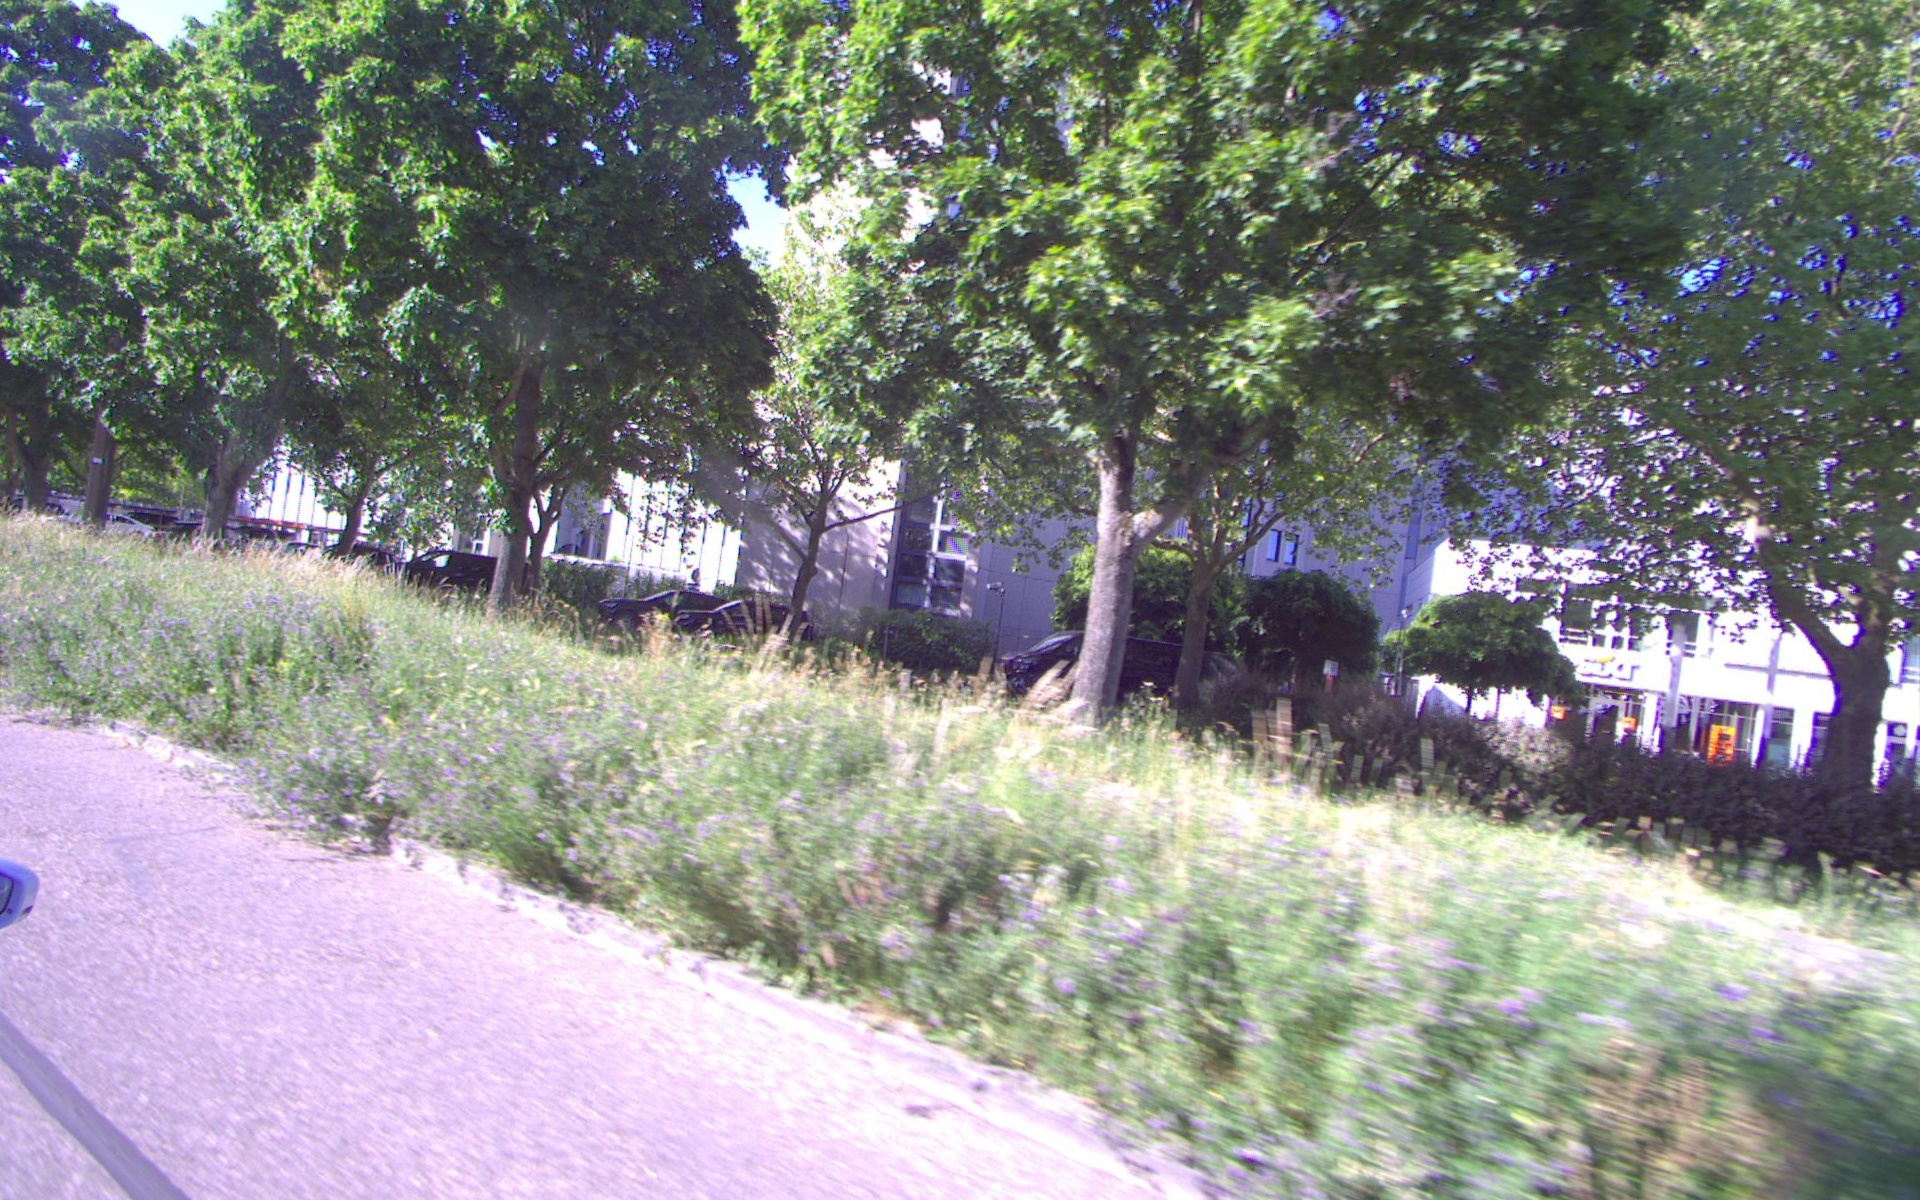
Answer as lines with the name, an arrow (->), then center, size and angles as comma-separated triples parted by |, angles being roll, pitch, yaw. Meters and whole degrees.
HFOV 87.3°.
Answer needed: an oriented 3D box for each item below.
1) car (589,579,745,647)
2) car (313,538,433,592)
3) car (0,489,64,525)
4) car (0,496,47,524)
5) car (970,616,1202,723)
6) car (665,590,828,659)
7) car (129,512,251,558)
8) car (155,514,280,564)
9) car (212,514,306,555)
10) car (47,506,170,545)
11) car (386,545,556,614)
car -> -9.399, 0.421, 32.331 | 4.493, 1.533, 1.838 | 9, -2, -24
car -> -24.511, -1.426, 42.156 | 3.934, 1.657, 1.716 | 8, -2, -21
car -> -56.167, -5.647, 59.410 | 1.851, 1.615, 4.404 | 7, -2, 27
car -> -60.129, -5.820, 62.764 | 1.909, 1.340, 4.296 | 8, 0, 34
car -> 3.055, 1.688, 24.743 | 5.106, 1.898, 2.075 | 8, -2, -14
car -> -6.516, 0.738, 30.768 | 4.493, 1.465, 1.838 | 9, -2, -24
car -> -36.701, -3.051, 48.068 | 1.733, 1.554, 4.245 | 7, -1, 21
car -> -34.799, -2.821, 47.295 | 1.733, 1.721, 4.349 | 7, -1, 21
car -> -47.995, -4.444, 68.978 | 1.940, 1.973, 4.759 | 8, -1, 29
car -> -46.189, -4.019, 54.687 | 1.776, 1.286, 4.708 | 8, 0, 27
car -> -18.522, -0.736, 38.371 | 5.369, 1.772, 1.915 | 8, -2, -12
